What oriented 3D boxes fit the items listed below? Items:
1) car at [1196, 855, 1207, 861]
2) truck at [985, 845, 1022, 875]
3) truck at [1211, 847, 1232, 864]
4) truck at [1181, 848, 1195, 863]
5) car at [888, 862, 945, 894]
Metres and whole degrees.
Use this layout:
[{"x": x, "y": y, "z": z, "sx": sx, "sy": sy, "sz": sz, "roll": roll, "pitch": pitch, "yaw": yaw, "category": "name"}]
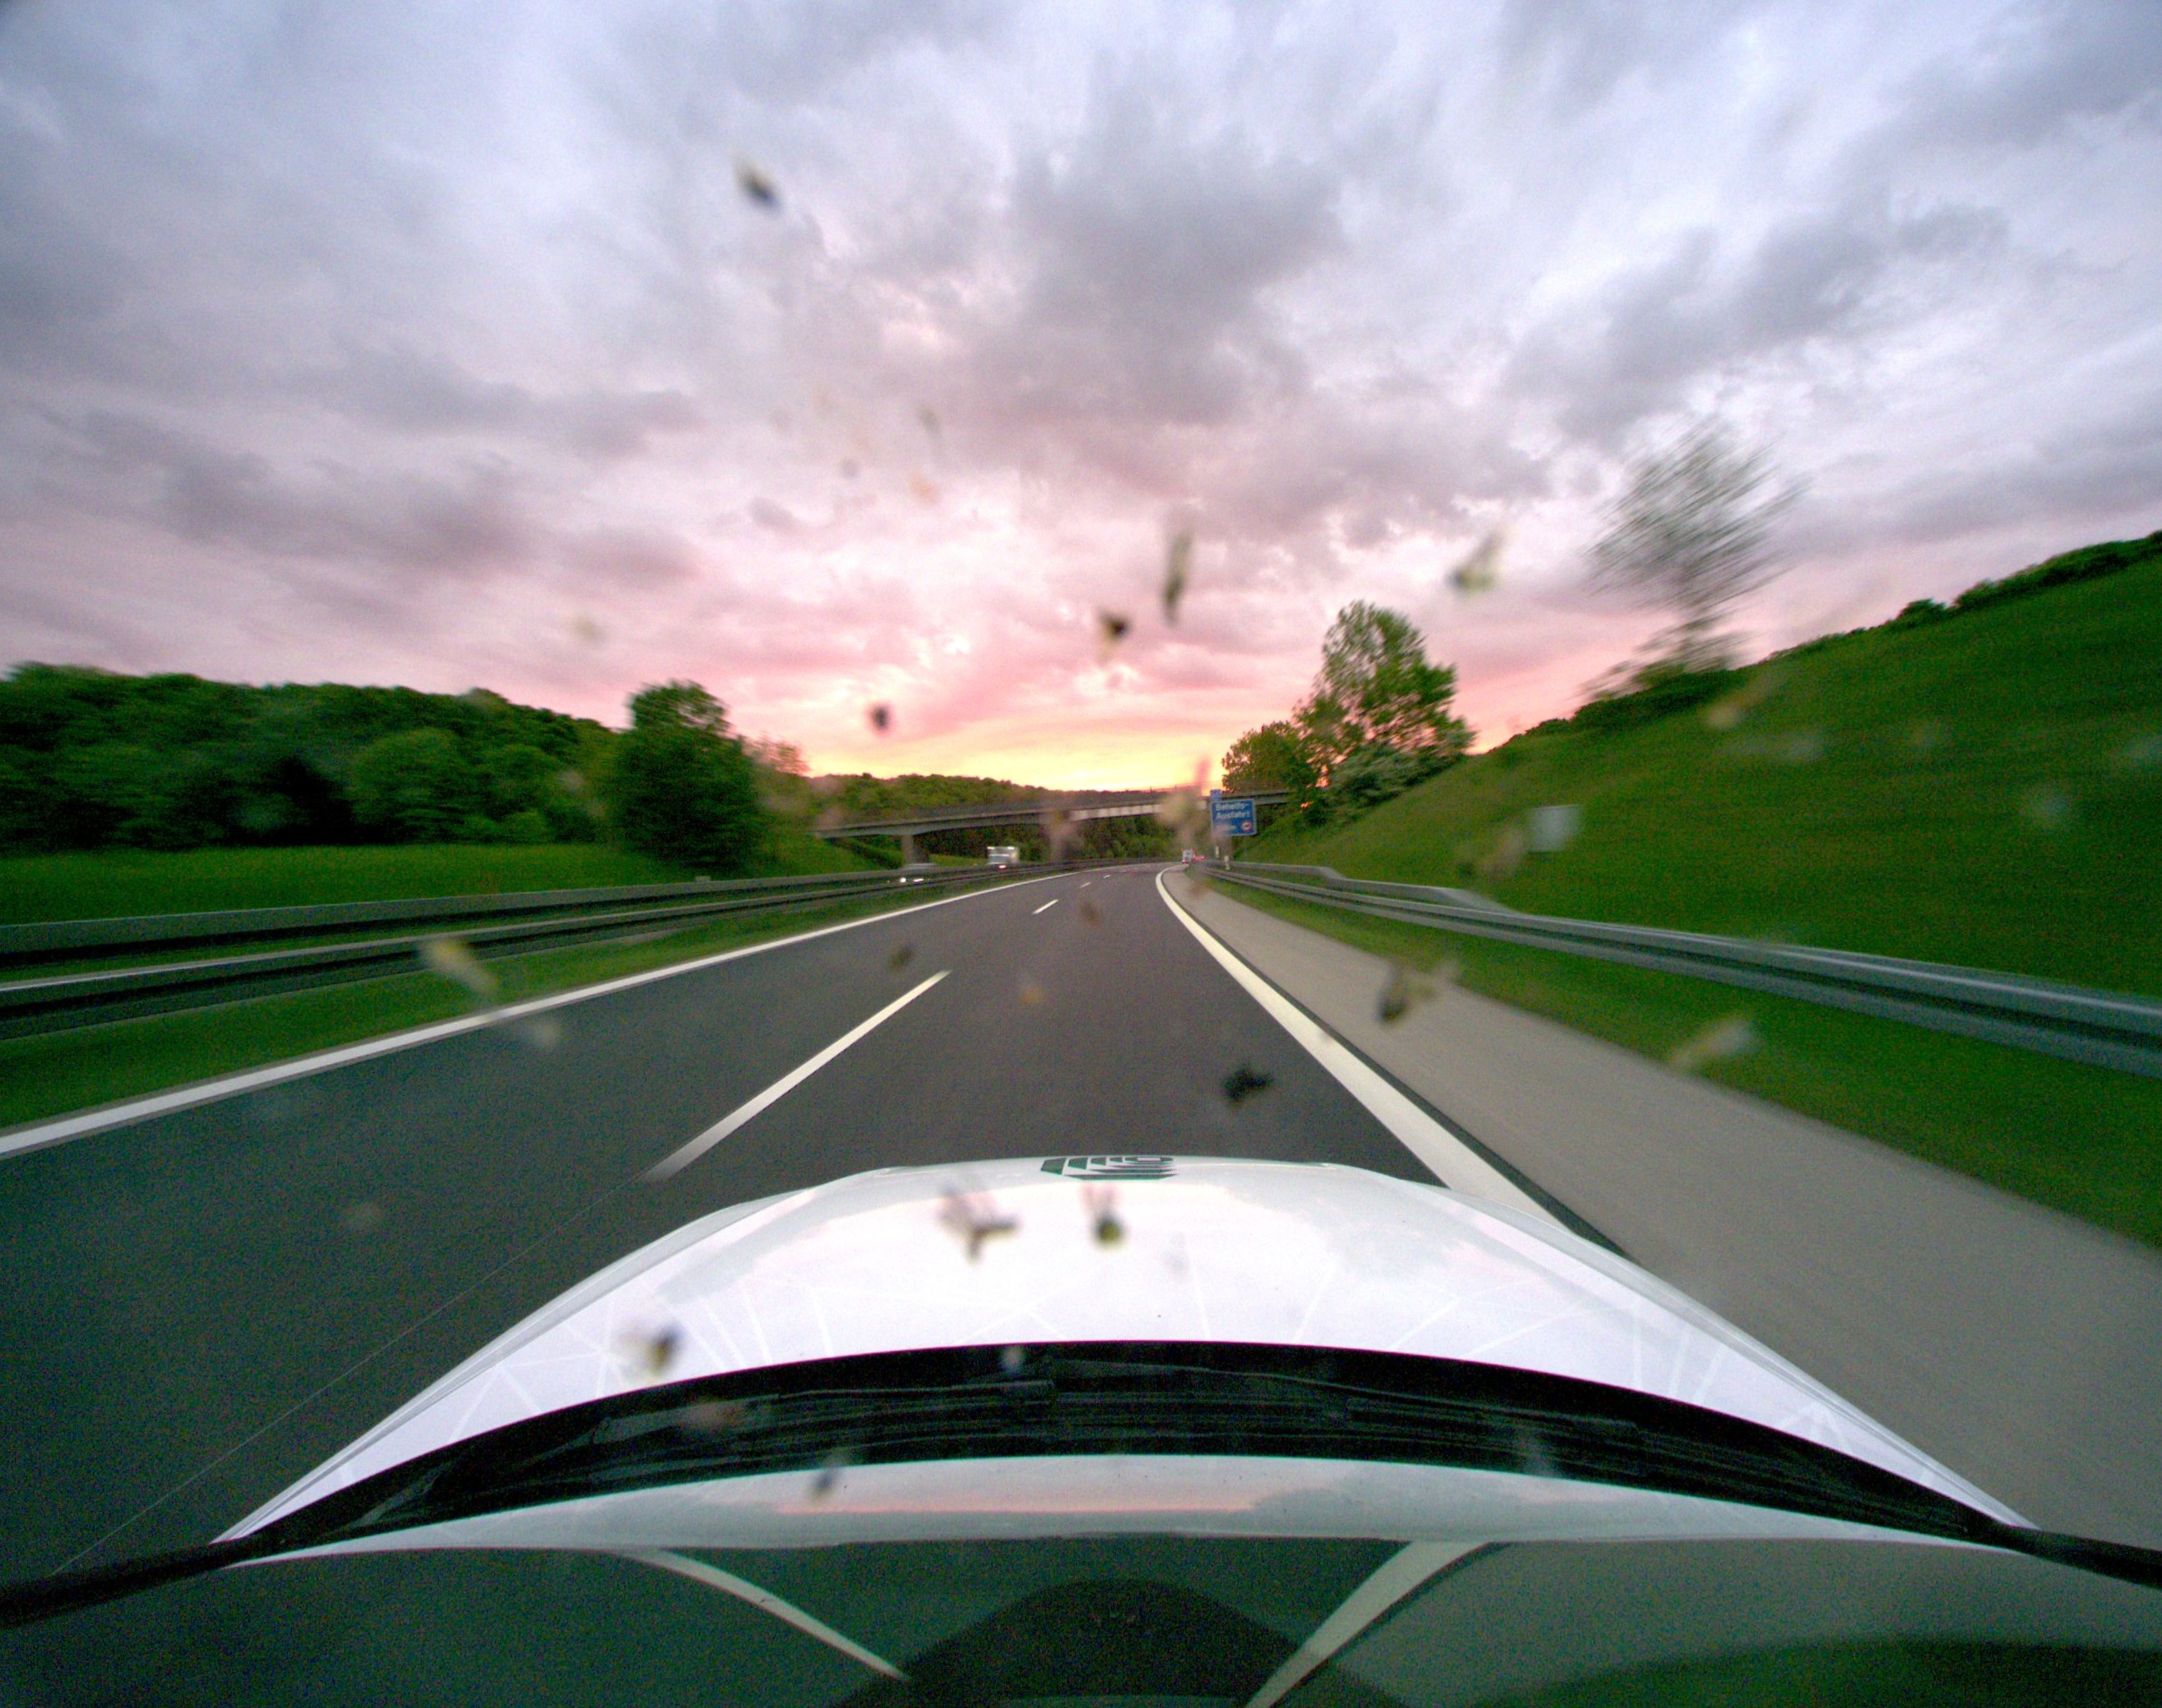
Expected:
[{"x": 31.307, "y": 0.959, "z": 211.986, "sx": 1.977, "sy": 1.517, "sz": 4.019, "roll": -2, "pitch": 0, "yaw": 19, "category": "car"}, {"x": -8.342, "y": 0.673, "z": 88.301, "sx": 2.598, "sy": 3.110, "sz": 6.681, "roll": -1, "pitch": 0, "yaw": 7, "category": "truck"}, {"x": 38.336, "y": 0.308, "z": 221.858, "sx": 3.927, "sy": 4.287, "sz": 14.385, "roll": -2, "pitch": 0, "yaw": 16, "category": "truck"}, {"x": 20.956, "y": 0.353, "z": 159.549, "sx": 2.260, "sy": 2.665, "sz": 5.255, "roll": -3, "pitch": 1, "yaw": 12, "category": "truck"}, {"x": -9.371, "y": 1.343, "z": 46.808, "sx": 1.766, "sy": 1.714, "sz": 4.646, "roll": -1, "pitch": 0, "yaw": 7, "category": "car"}]
